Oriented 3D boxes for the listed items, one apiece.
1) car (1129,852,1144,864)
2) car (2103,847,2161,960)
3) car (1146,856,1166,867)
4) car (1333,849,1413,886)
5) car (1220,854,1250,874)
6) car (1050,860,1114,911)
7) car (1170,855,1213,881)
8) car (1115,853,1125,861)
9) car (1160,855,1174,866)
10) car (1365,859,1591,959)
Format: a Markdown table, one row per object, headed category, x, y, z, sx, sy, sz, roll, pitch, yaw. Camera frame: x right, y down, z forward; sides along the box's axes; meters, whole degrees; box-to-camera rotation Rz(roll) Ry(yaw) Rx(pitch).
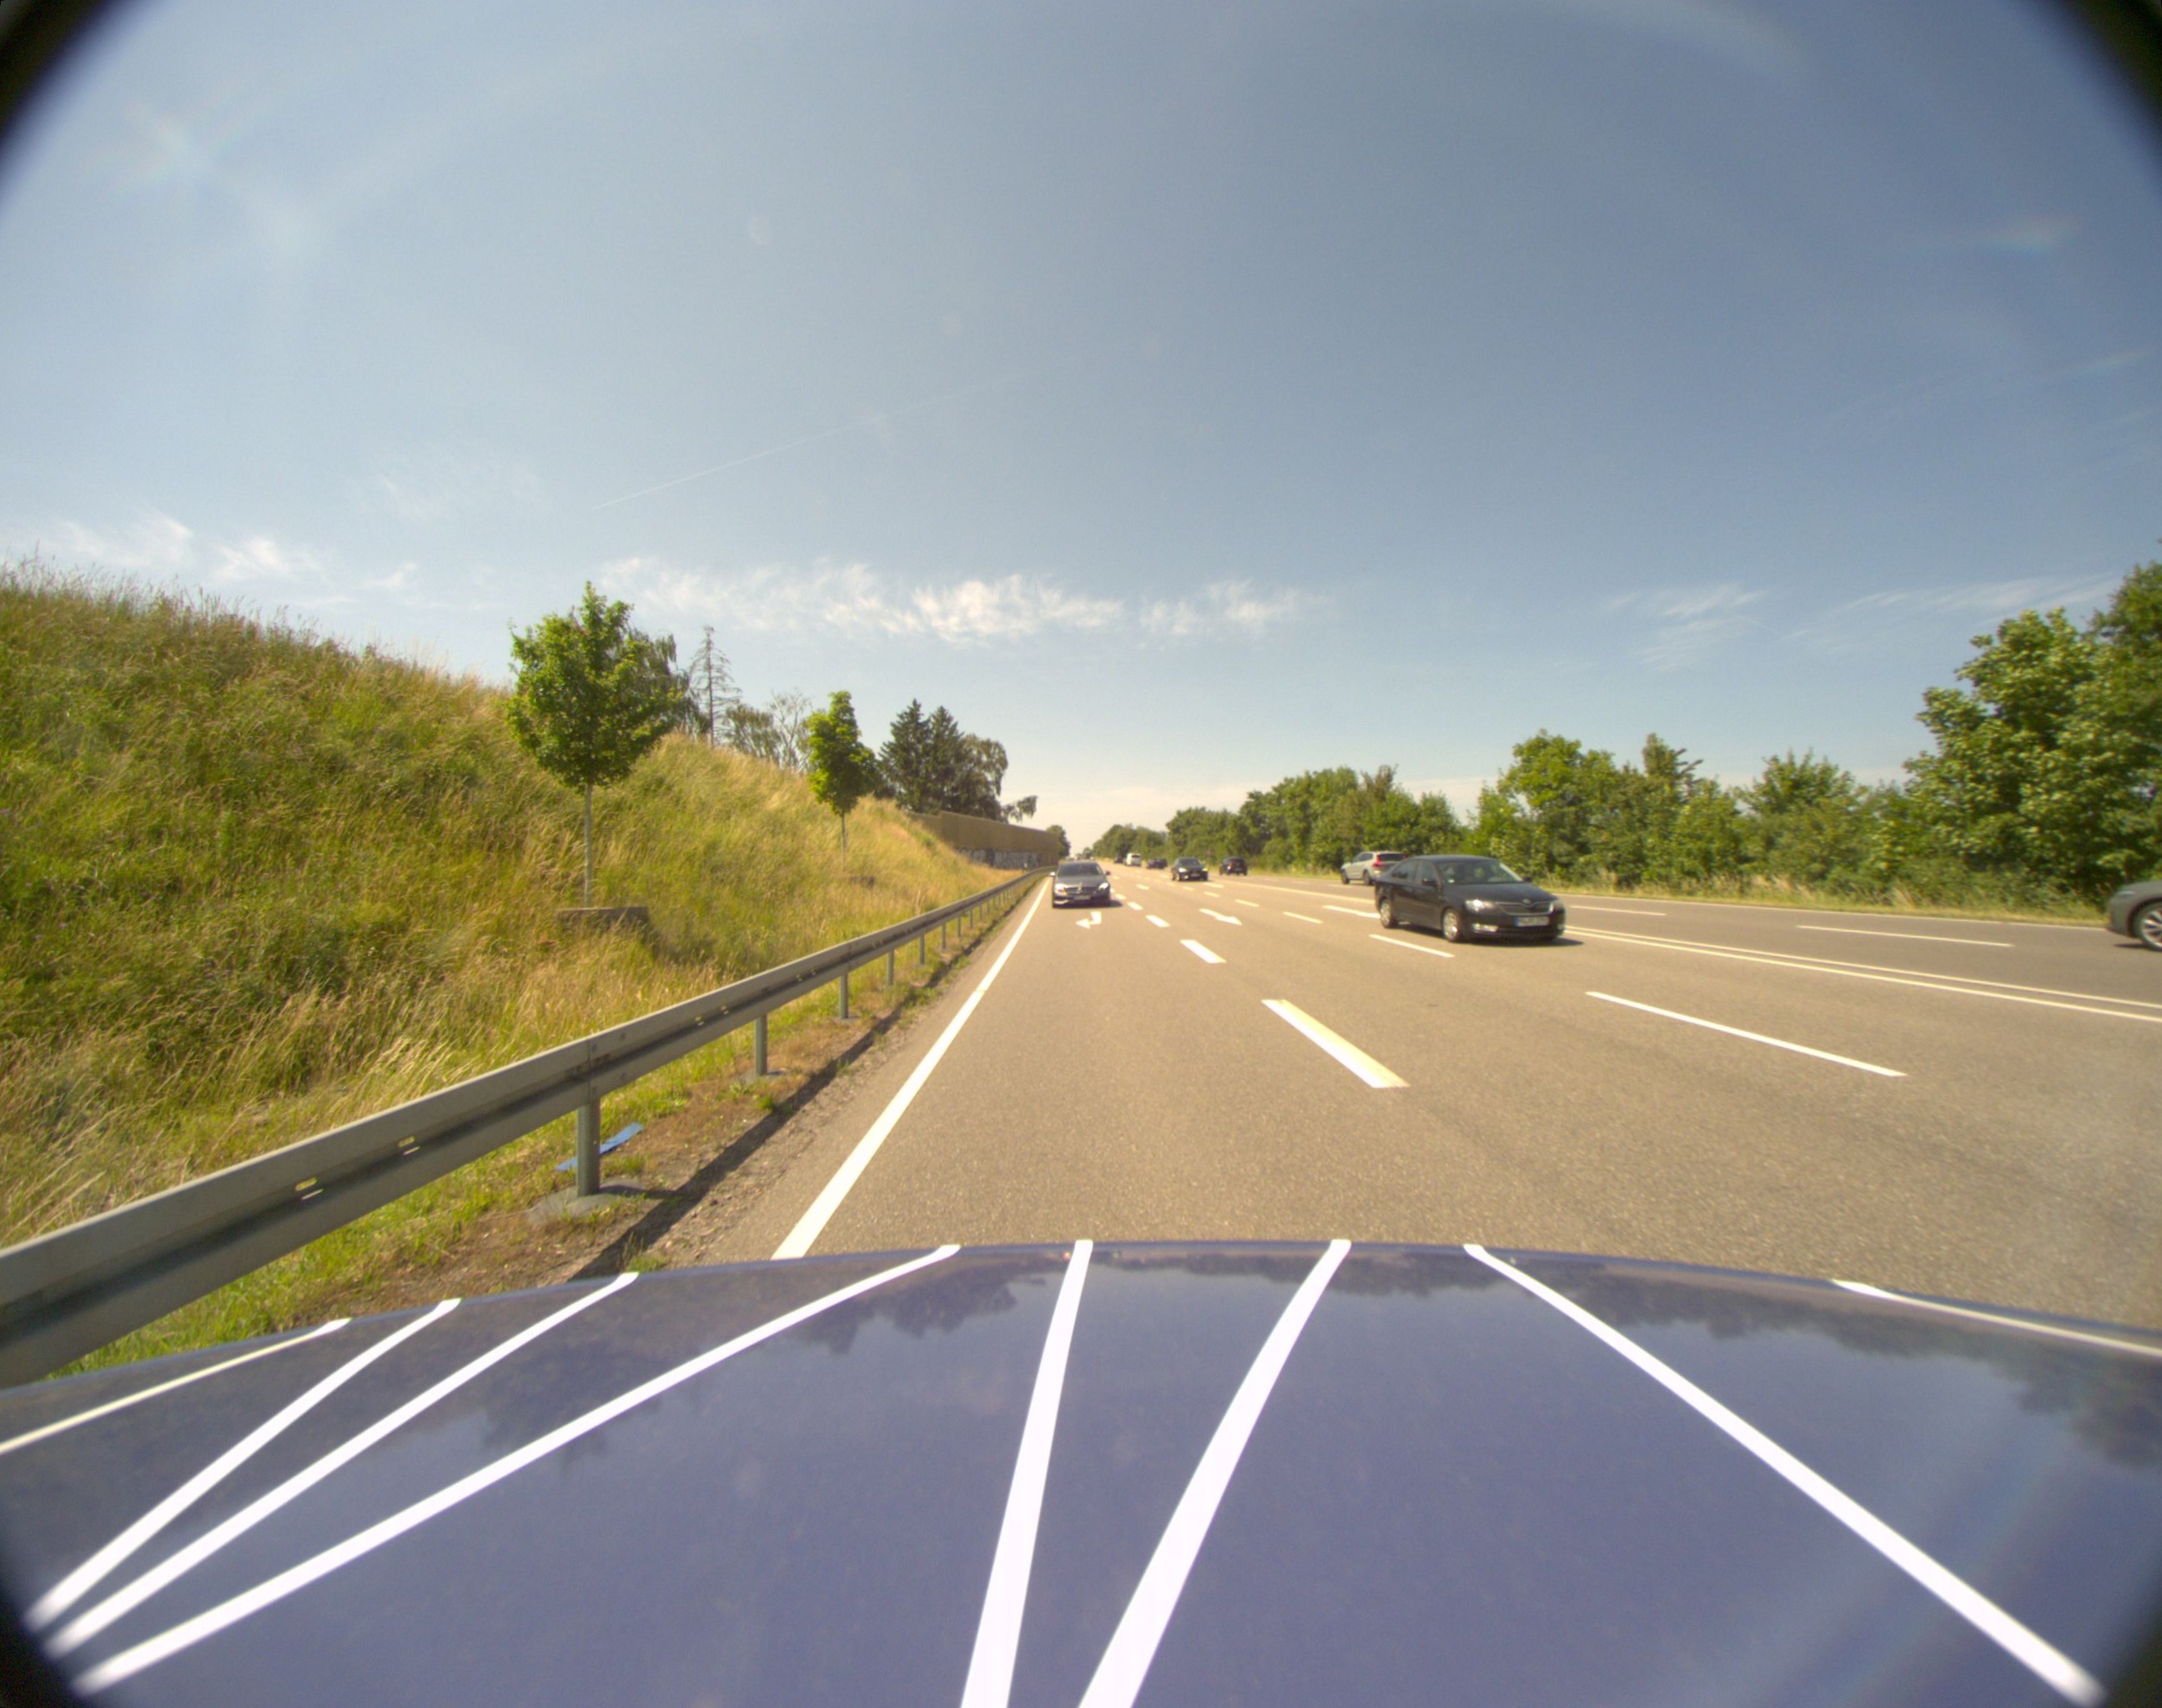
| category | x | y | z | sx | sy | sz | roll | pitch | yaw |
| --- | --- | --- | --- | --- | --- | --- | --- | --- | --- |
| car | 8.643 | 0.592 | 118.790 | 1.910 | 1.906 | 5.051 | 0 | 0 | 0 |
| car | 14.558 | 0.616 | 7.845 | 1.883 | 1.390 | 4.530 | -2 | 0 | -2 |
| car | 9.274 | 0.859 | 94.235 | 1.810 | 1.272 | 4.765 | -1 | 0 | -1 |
| car | 14.195 | 0.611 | 37.229 | 2.033 | 1.630 | 4.568 | -2 | 0 | -2 |
| car | 12.663 | 0.805 | 62.680 | 1.649 | 1.479 | 3.558 | -2 | 0 | -2 |
| car | -0.034 | 0.979 | 25.430 | 1.894 | 1.439 | 4.524 | -2 | 0 | -2 |
| car | 6.670 | 0.806 | 46.171 | 1.894 | 1.439 | 4.525 | -2 | 0 | -1 |
| car | 8.261 | 0.689 | 161.779 | 1.893 | 1.527 | 4.525 | -2 | 0 | 1 |
| car | 13.125 | 0.972 | 116.575 | 1.526 | 1.461 | 3.788 | -2 | 1 | -3 |
| car | 6.763 | 0.838 | 13.575 | 1.679 | 1.403 | 4.466 | -2 | 0 | 0 |
